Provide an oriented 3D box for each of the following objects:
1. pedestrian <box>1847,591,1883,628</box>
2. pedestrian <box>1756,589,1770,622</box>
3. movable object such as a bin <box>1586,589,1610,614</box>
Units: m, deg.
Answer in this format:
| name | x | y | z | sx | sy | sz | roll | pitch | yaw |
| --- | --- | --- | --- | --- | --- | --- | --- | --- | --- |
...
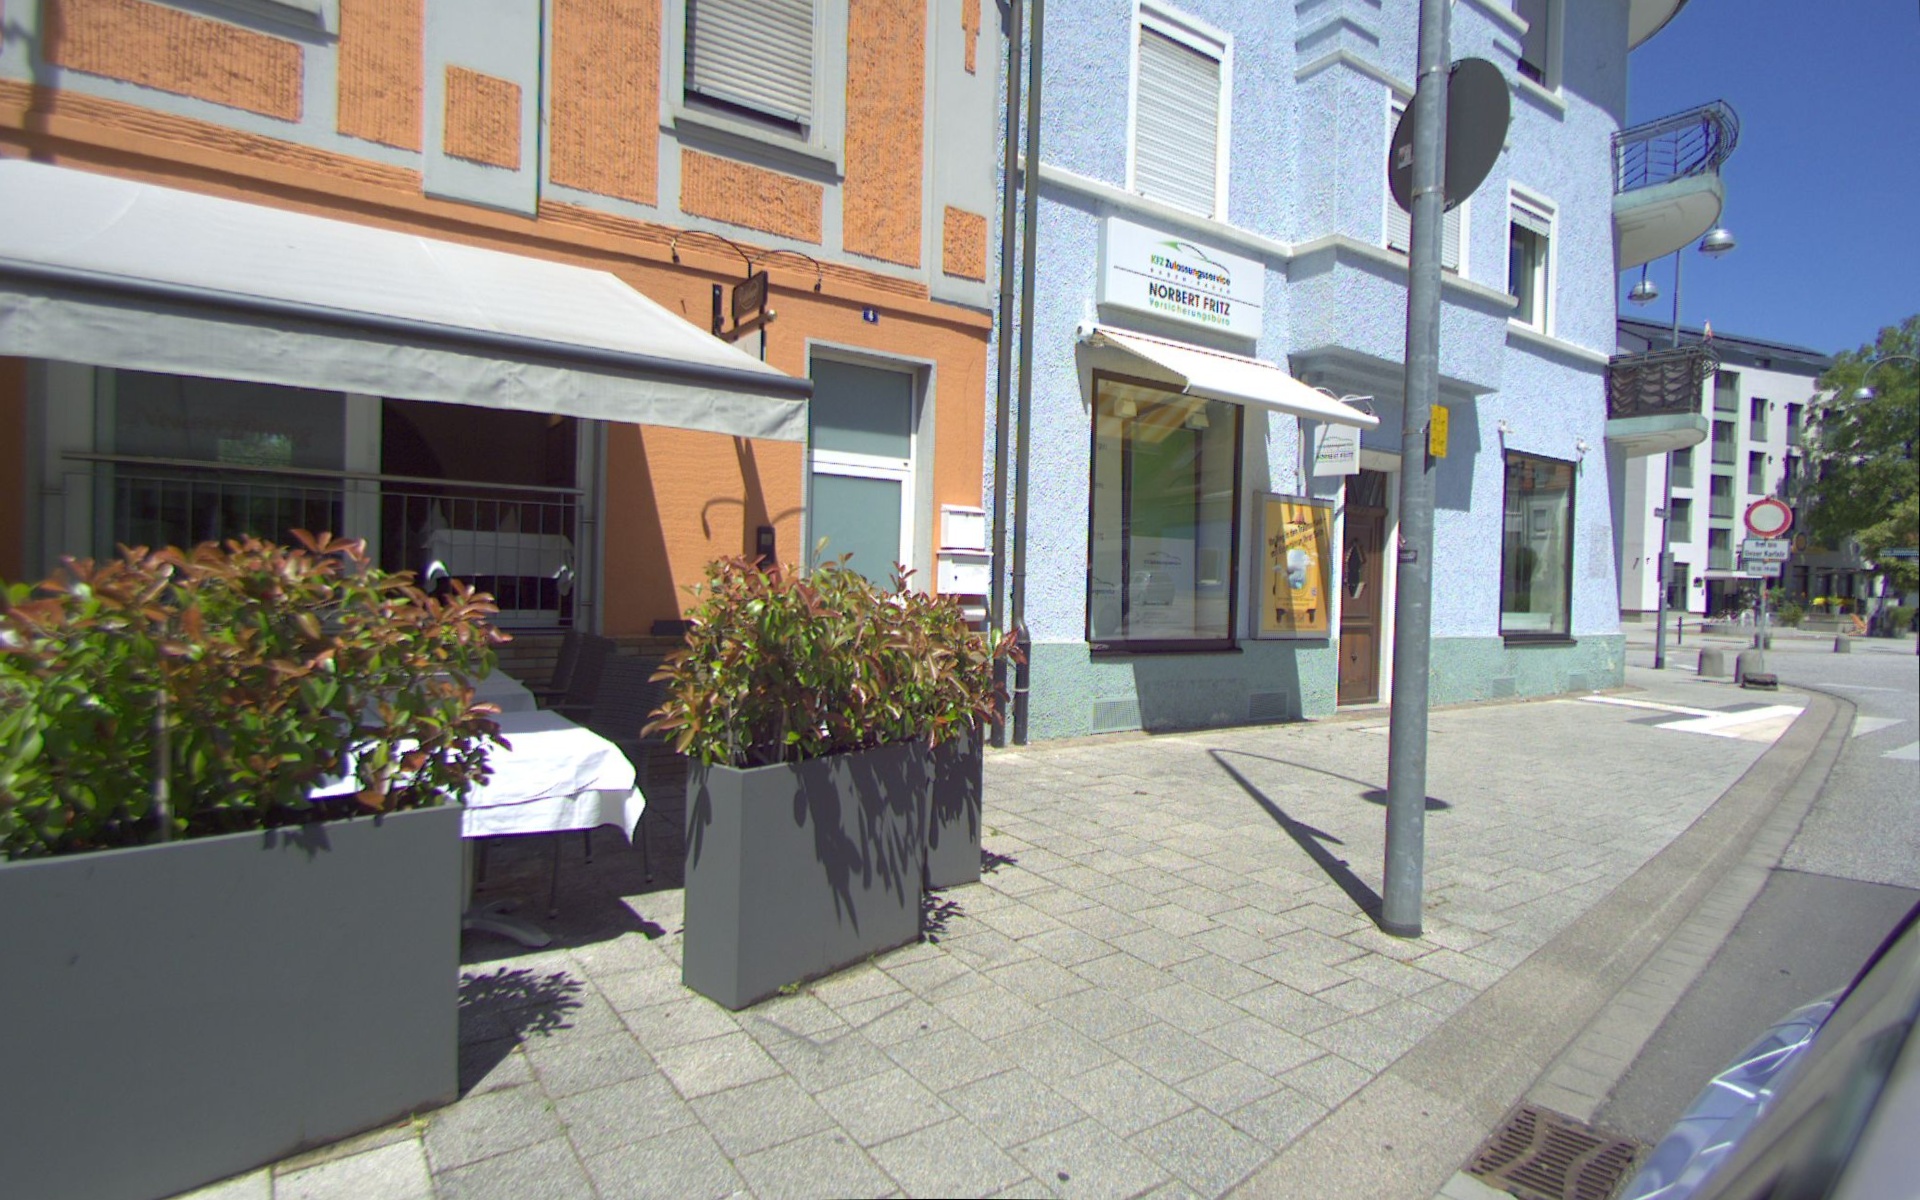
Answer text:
| name | x | y | z | sx | sy | sz | roll | pitch | yaw |
| --- | --- | --- | --- | --- | --- | --- | --- | --- | --- |
| pedestrian | 41.971 | 0.445 | 46.951 | 0.932 | 1.669 | 0.819 | 1 | 0 | -6 |
| pedestrian | 39.980 | 0.274 | 50.376 | 0.442 | 1.639 | 0.450 | 1 | 0 | -38 |
| movable object such as a bin | 32.117 | 0.065 | 50.933 | 0.821 | 1.268 | 0.747 | 1 | 0 | -34 |
